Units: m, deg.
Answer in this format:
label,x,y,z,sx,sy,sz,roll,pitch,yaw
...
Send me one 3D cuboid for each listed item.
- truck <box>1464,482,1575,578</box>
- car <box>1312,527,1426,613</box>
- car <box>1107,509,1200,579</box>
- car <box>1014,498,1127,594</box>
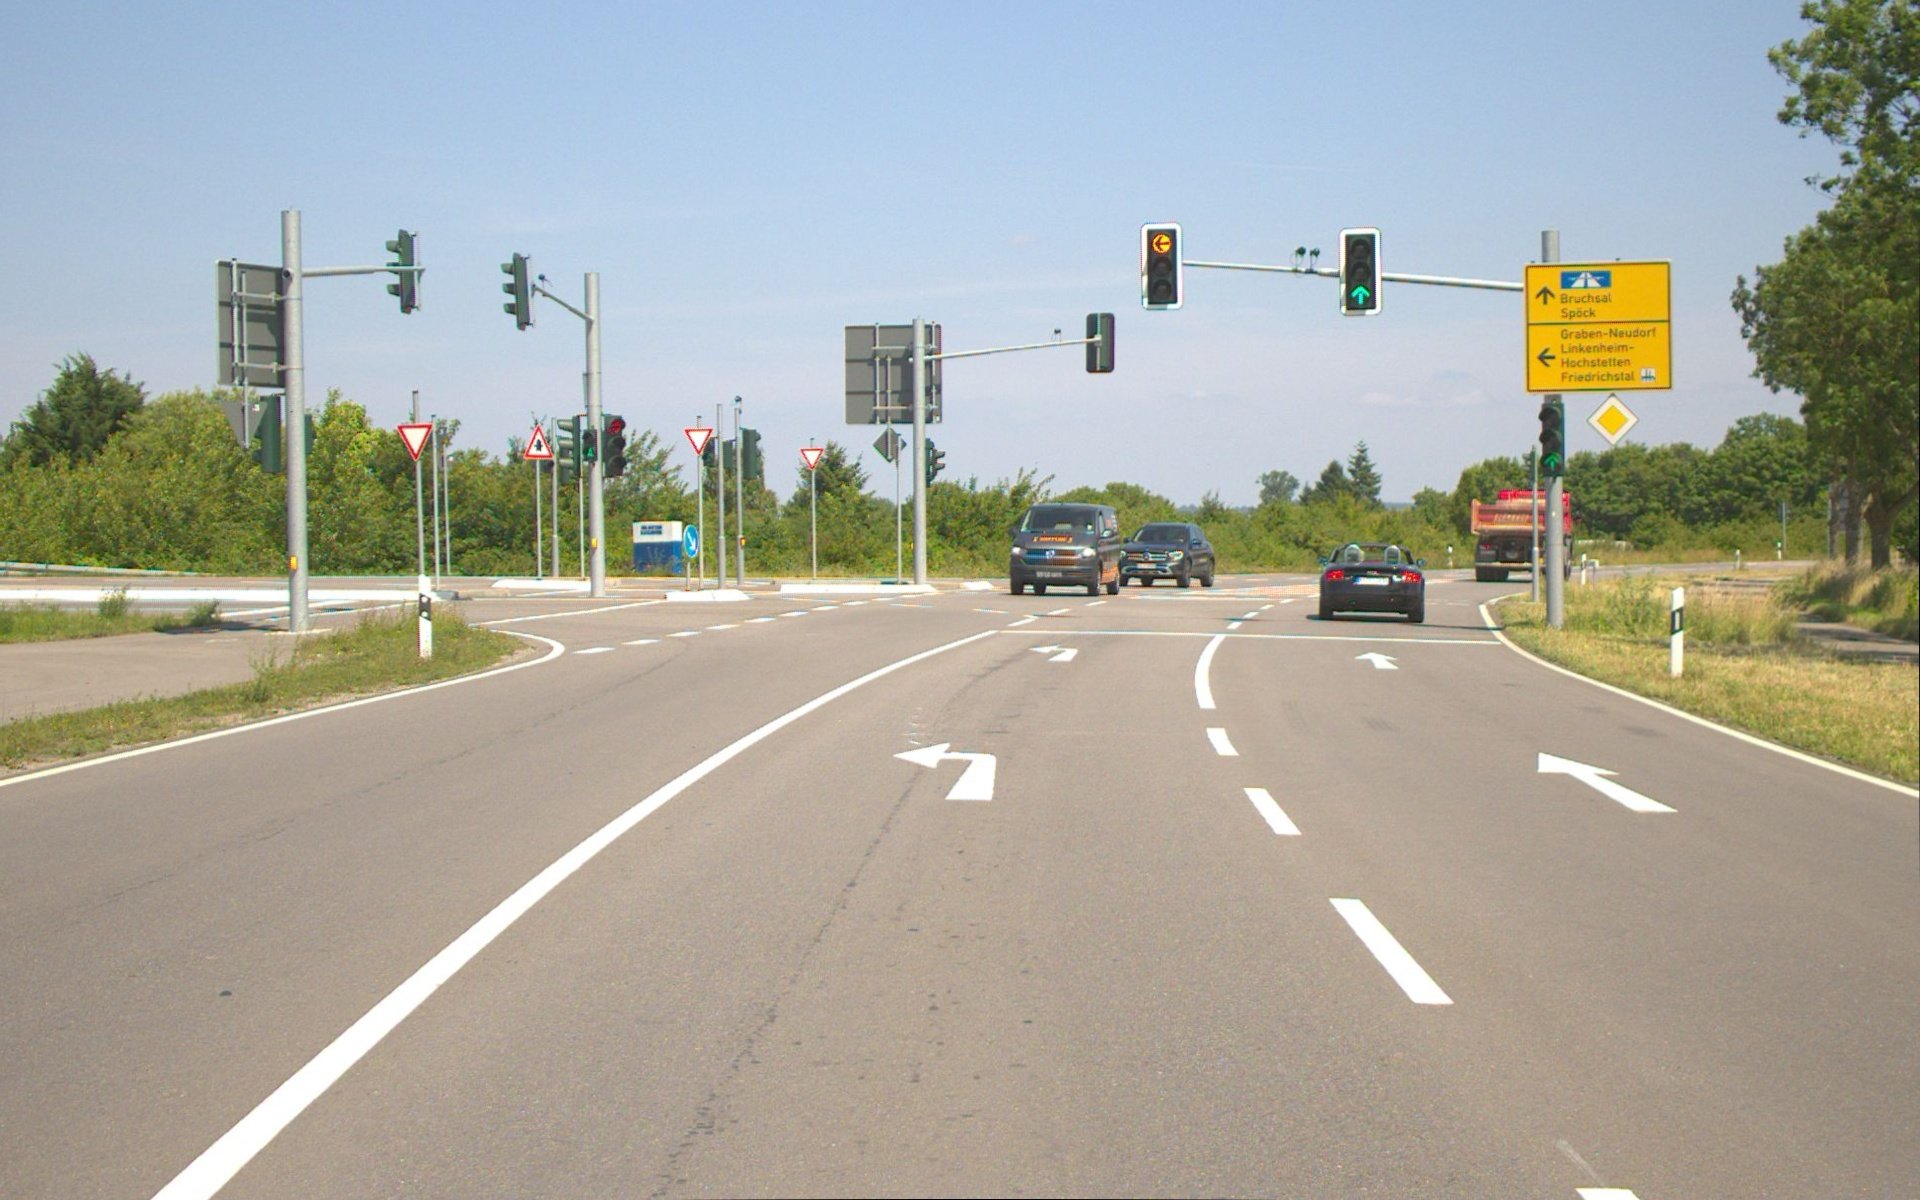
label,x,y,z,sx,sy,sz,roll,pitch,yaw
truck,18.551,-2.265,113.678,2.716,3.042,8.158,0,0,16
car,6.939,-0.479,58.055,1.748,1.371,3.677,1,0,9
car,5.028,-1.468,88.932,1.931,1.733,4.887,1,1,9
car,2.396,-1.176,73.580,1.931,1.971,4.683,1,1,8
